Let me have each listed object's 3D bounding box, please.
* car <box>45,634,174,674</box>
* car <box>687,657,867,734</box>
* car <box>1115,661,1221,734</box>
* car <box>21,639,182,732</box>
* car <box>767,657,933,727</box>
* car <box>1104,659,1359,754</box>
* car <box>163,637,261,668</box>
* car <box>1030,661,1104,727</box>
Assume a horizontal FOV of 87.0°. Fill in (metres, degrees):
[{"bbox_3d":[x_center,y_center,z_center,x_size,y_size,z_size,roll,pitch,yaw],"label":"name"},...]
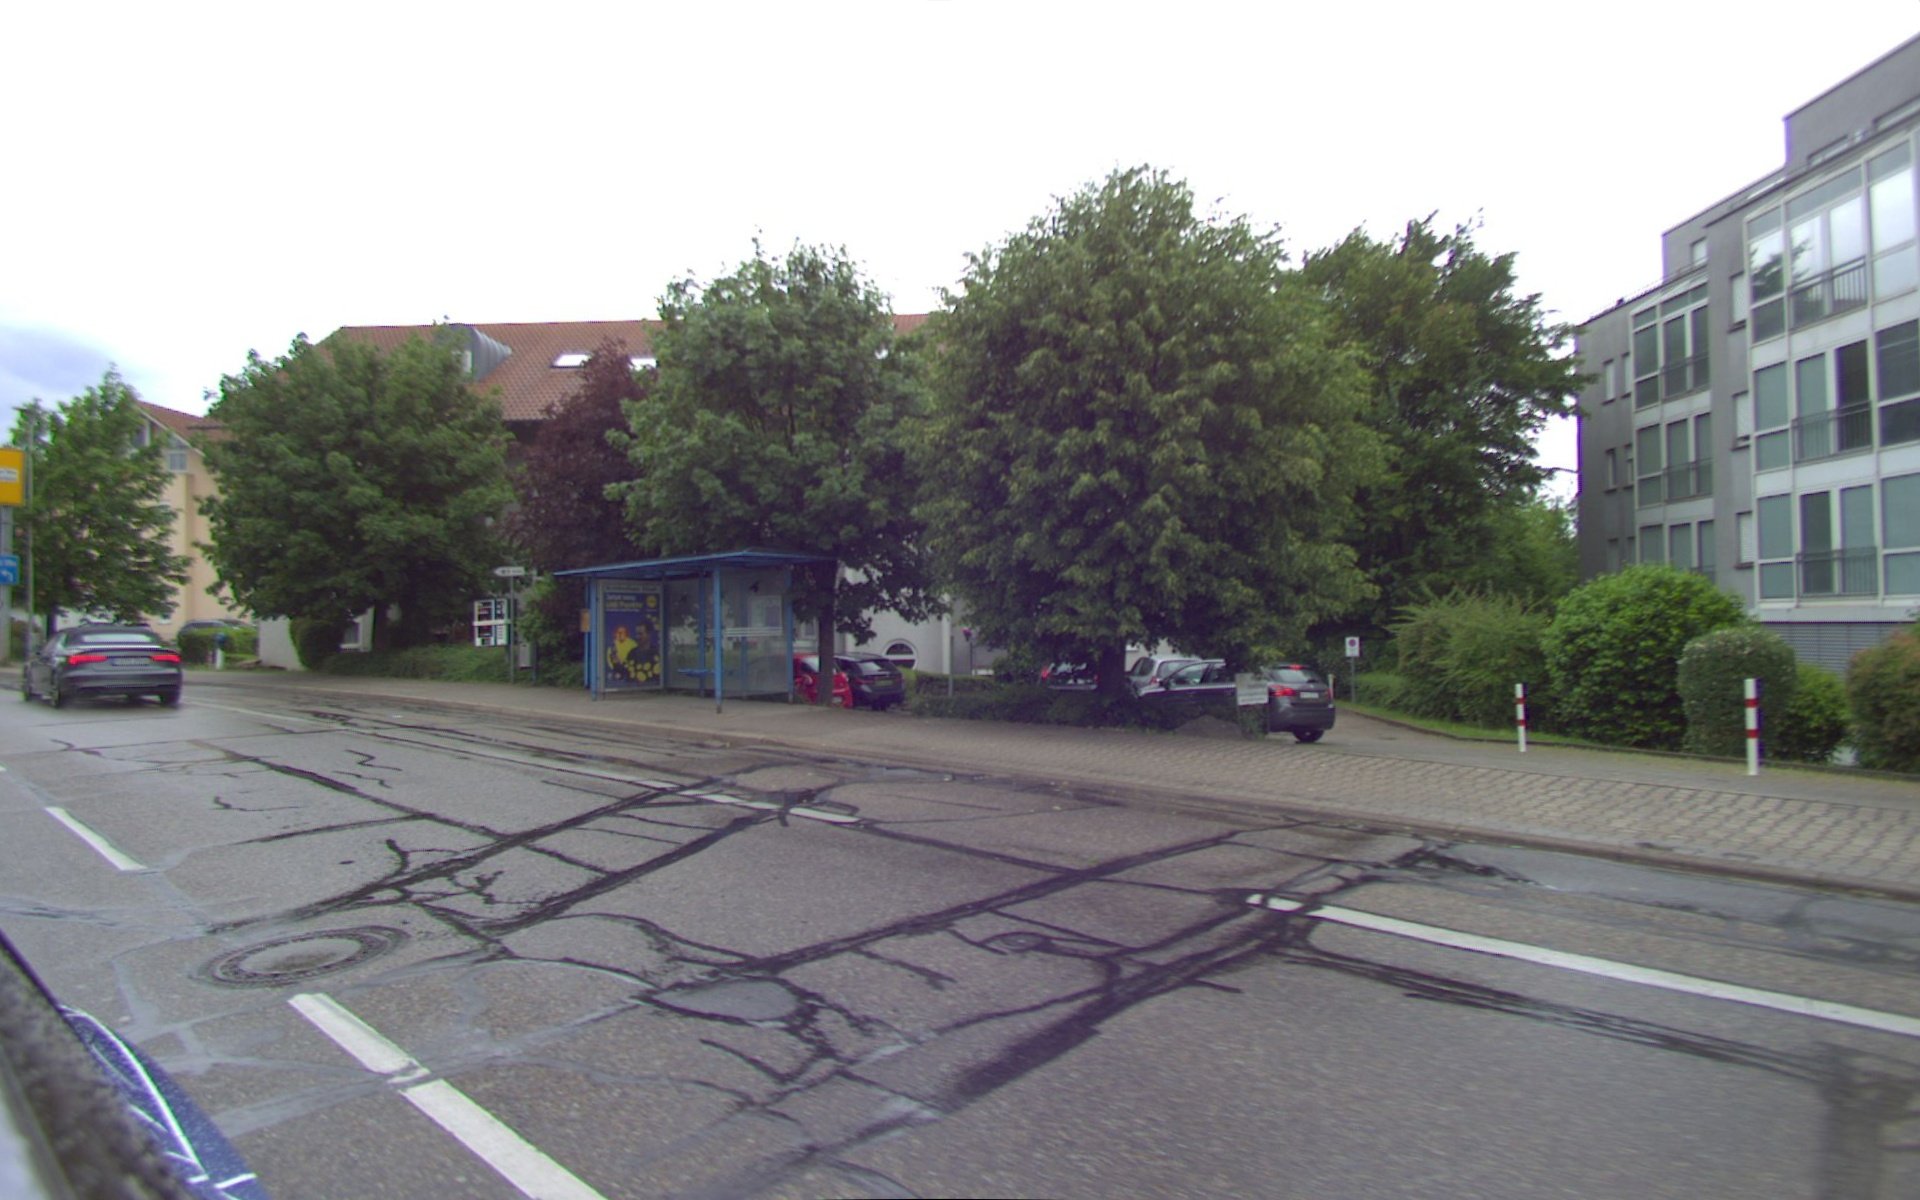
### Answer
[{"bbox_3d":[-35.478,2.249,42.271,3.944,1.614,1.737,0,-2,0],"label":"car"},{"bbox_3d":[-4.189,2.087,22.912,3.991,1.475,1.753,-2,-1,36],"label":"car"},{"bbox_3d":[4.886,2.260,24.229,1.646,1.443,3.717,-1,-1,-1],"label":"car"},{"bbox_3d":[-15.639,1.462,18.370,3.998,1.454,1.656,-2,-2,41],"label":"car"},{"bbox_3d":[-2.736,2.198,24.797,3.991,1.475,1.596,-2,-1,36],"label":"car"},{"bbox_3d":[4.868,1.900,18.615,1.967,1.432,4.175,7,-6,-37],"label":"car"},{"bbox_3d":[-34.180,2.392,46.285,3.391,1.392,1.516,0,-2,0],"label":"car"},{"bbox_3d":[2.663,2.337,25.791,1.648,1.405,3.428,-1,-1,3],"label":"car"}]
